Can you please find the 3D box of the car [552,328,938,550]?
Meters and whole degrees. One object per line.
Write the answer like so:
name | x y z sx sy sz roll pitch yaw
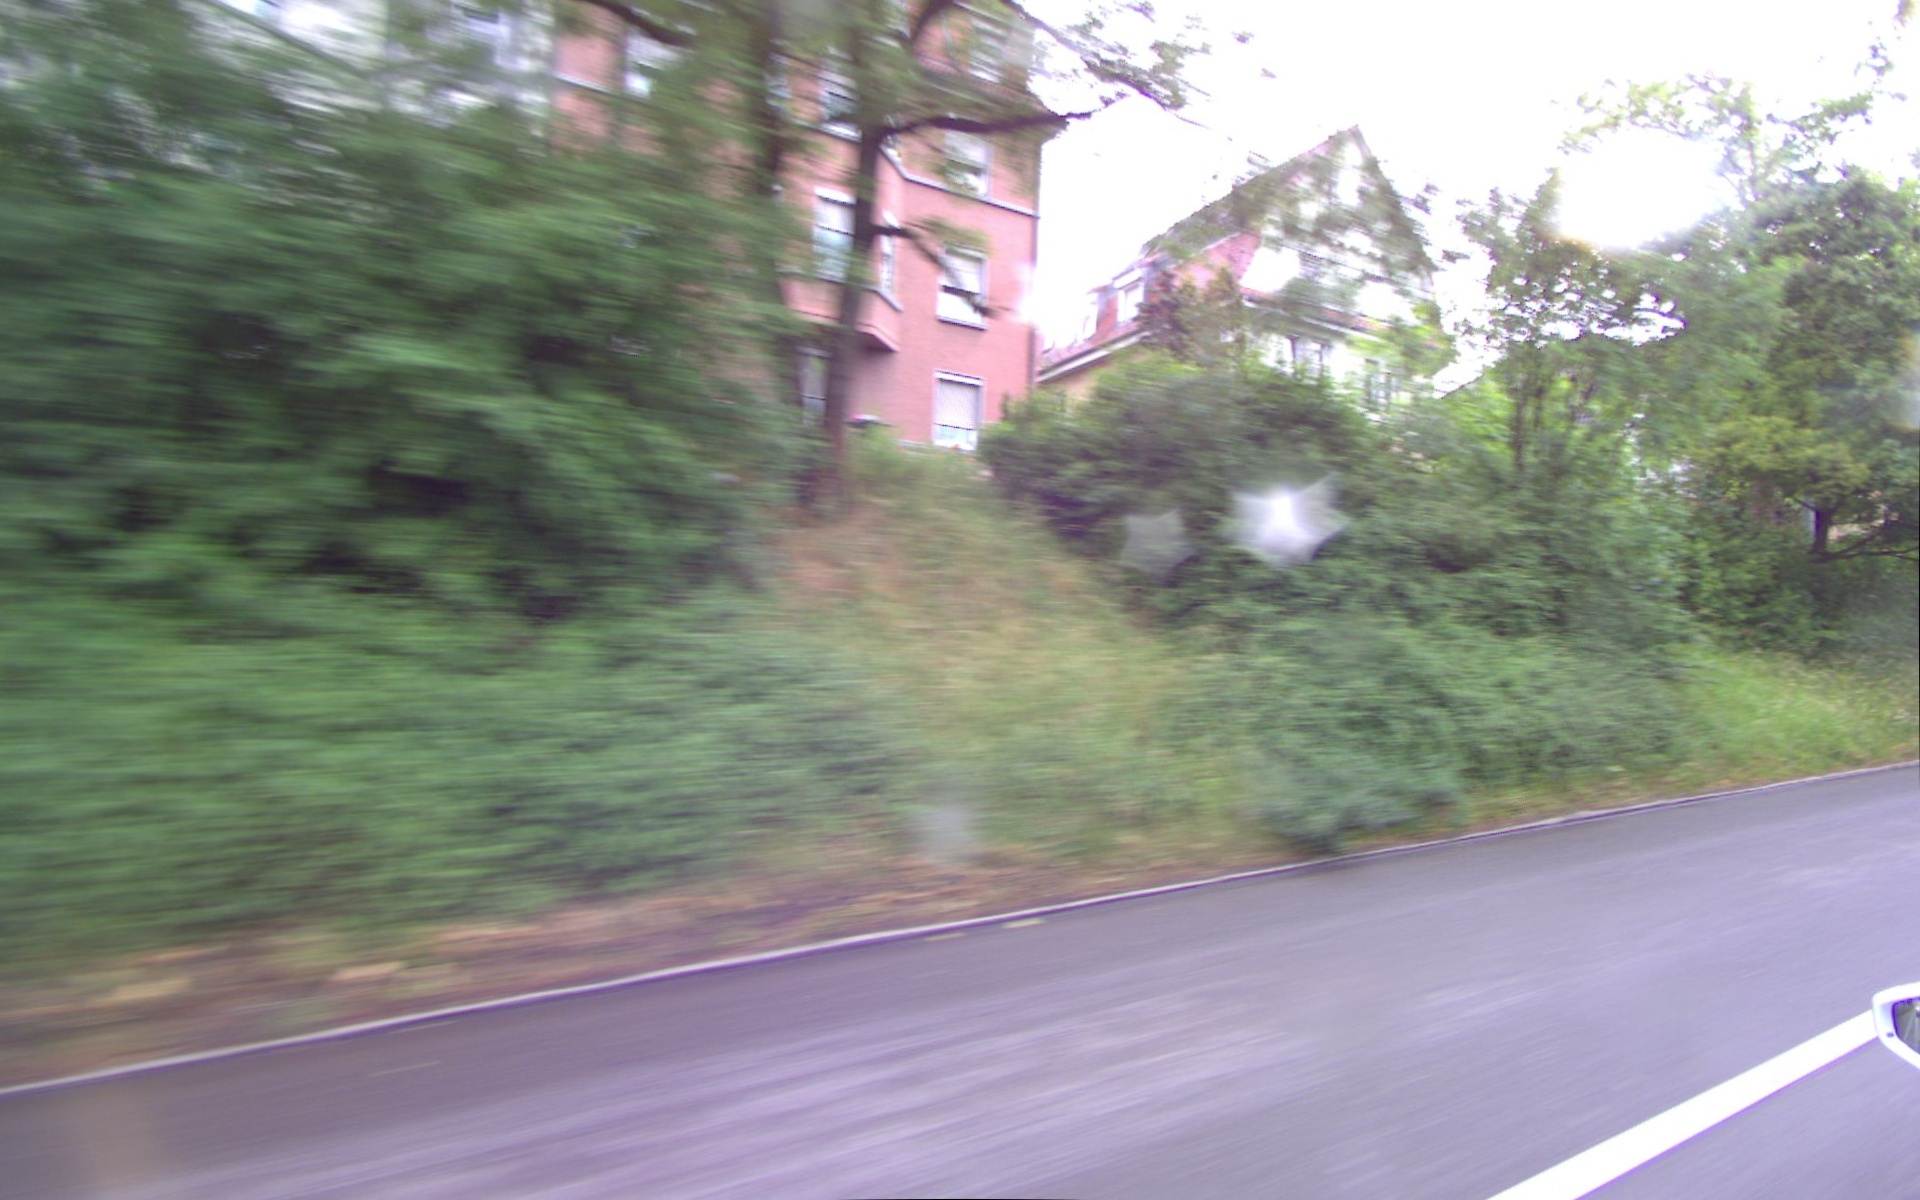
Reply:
car | -2.632 -1.796 12.584 4.302 2.040 1.983 2 0 -32
